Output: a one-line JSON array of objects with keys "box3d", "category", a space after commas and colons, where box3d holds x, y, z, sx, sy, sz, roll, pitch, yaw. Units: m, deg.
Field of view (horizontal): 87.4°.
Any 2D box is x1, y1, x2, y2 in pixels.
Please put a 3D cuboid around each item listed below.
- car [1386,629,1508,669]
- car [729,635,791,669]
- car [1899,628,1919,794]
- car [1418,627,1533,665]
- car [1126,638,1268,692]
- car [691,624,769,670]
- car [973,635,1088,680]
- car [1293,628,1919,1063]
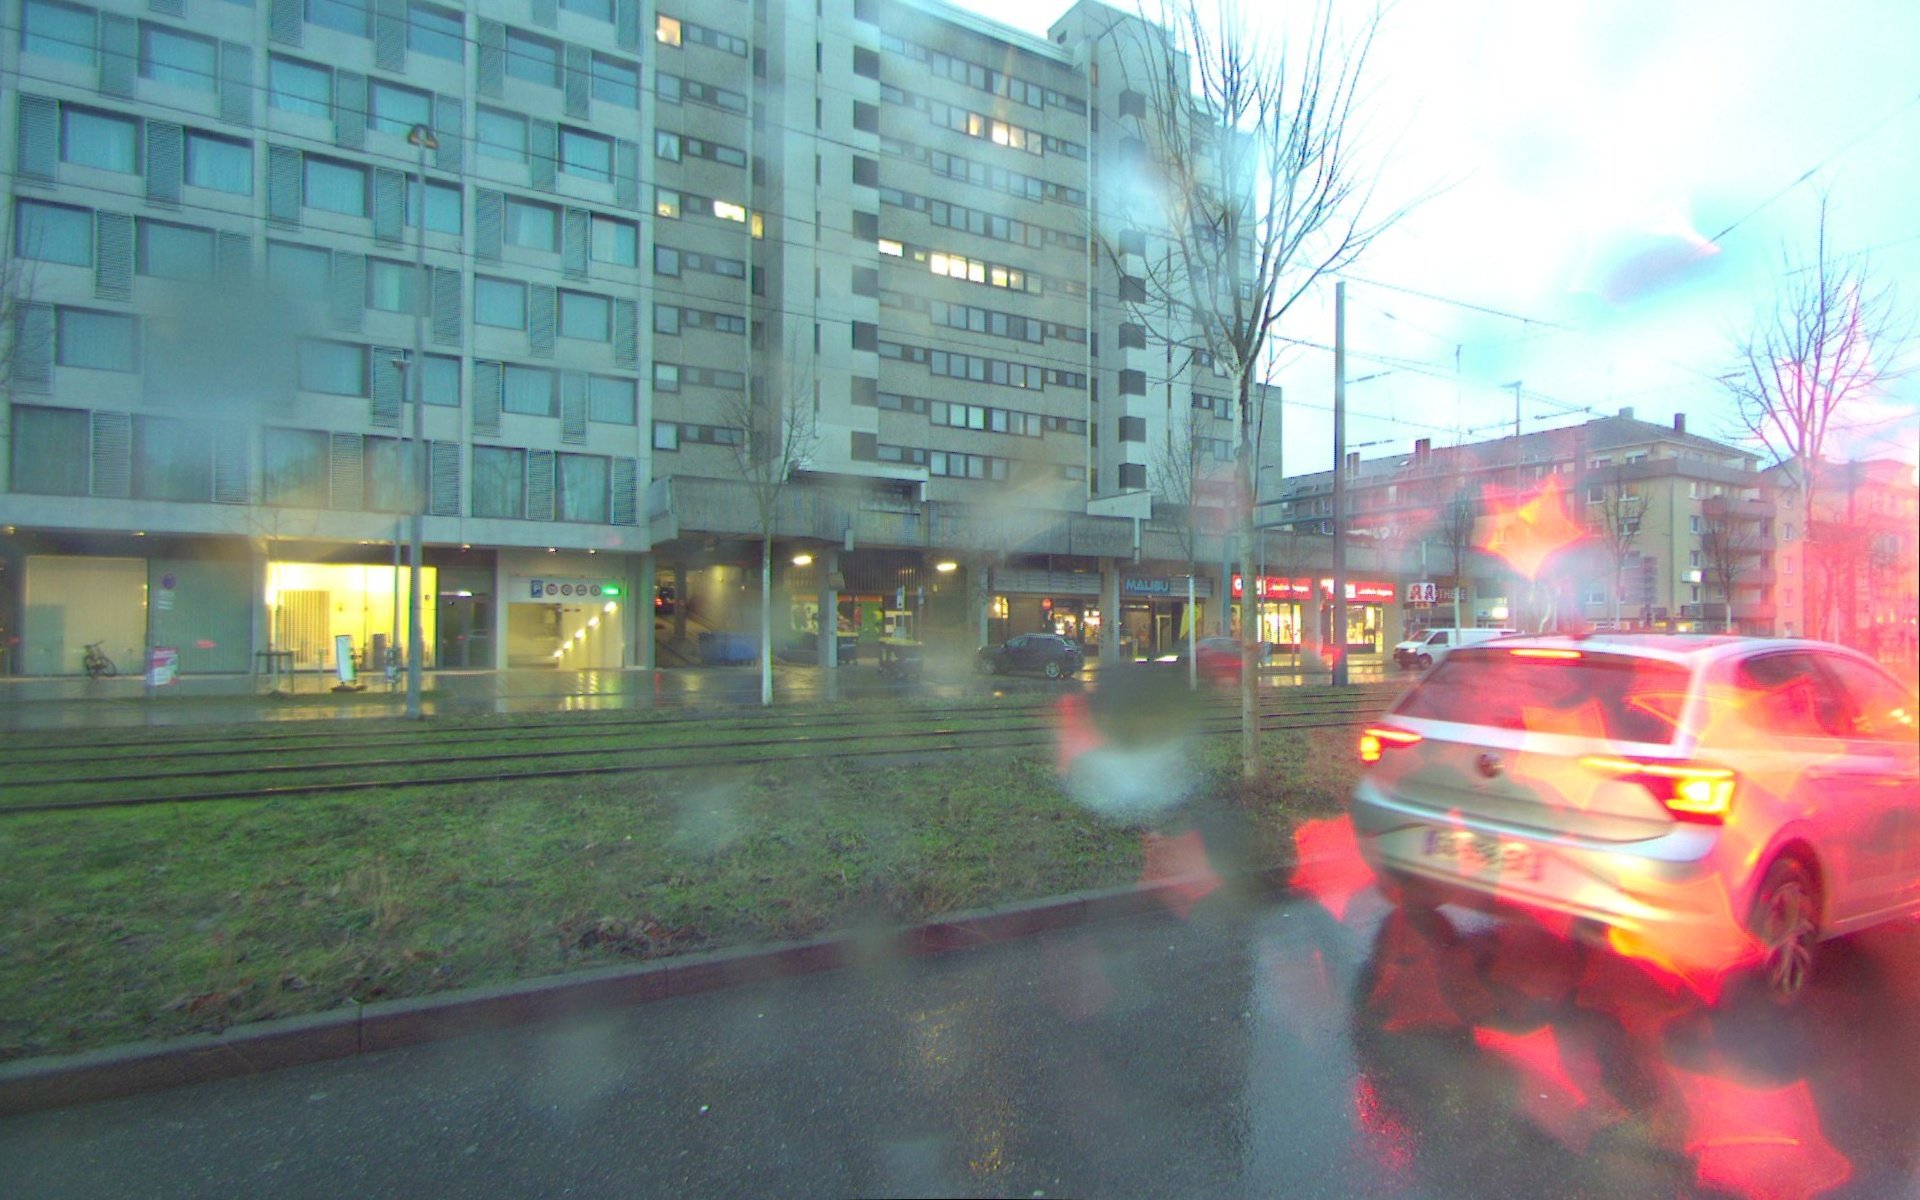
[{"box3d": [23.857, 2.383, 49.308, 5.065, 1.937, 1.999, 0, -2, -5], "category": "car"}, {"box3d": [-8.747, 2.232, 43.759, 1.580, 1.377, 3.411, 1, -2, -32], "category": "car"}, {"box3d": [10.608, 1.017, 9.163, 4.562, 1.424, 1.837, 2, -1, -31], "category": "car"}, {"box3d": [27.061, 2.406, 52.893, 5.059, 1.937, 2.001, 0, -2, 15], "category": "car"}, {"box3d": [7.798, 2.076, 32.980, 4.526, 1.655, 1.887, 1, -2, -30], "category": "car"}, {"box3d": [-9.197, 1.838, 39.957, 1.709, 1.718, 4.336, 1, -2, -32], "category": "car"}, {"box3d": [2.709, 2.173, 38.478, 3.925, 1.405, 1.935, 2, 0, 25], "category": "car"}, {"box3d": [3.731, 0.881, 5.106, 3.936, 1.389, 1.753, 2, -1, -31], "category": "car"}]
